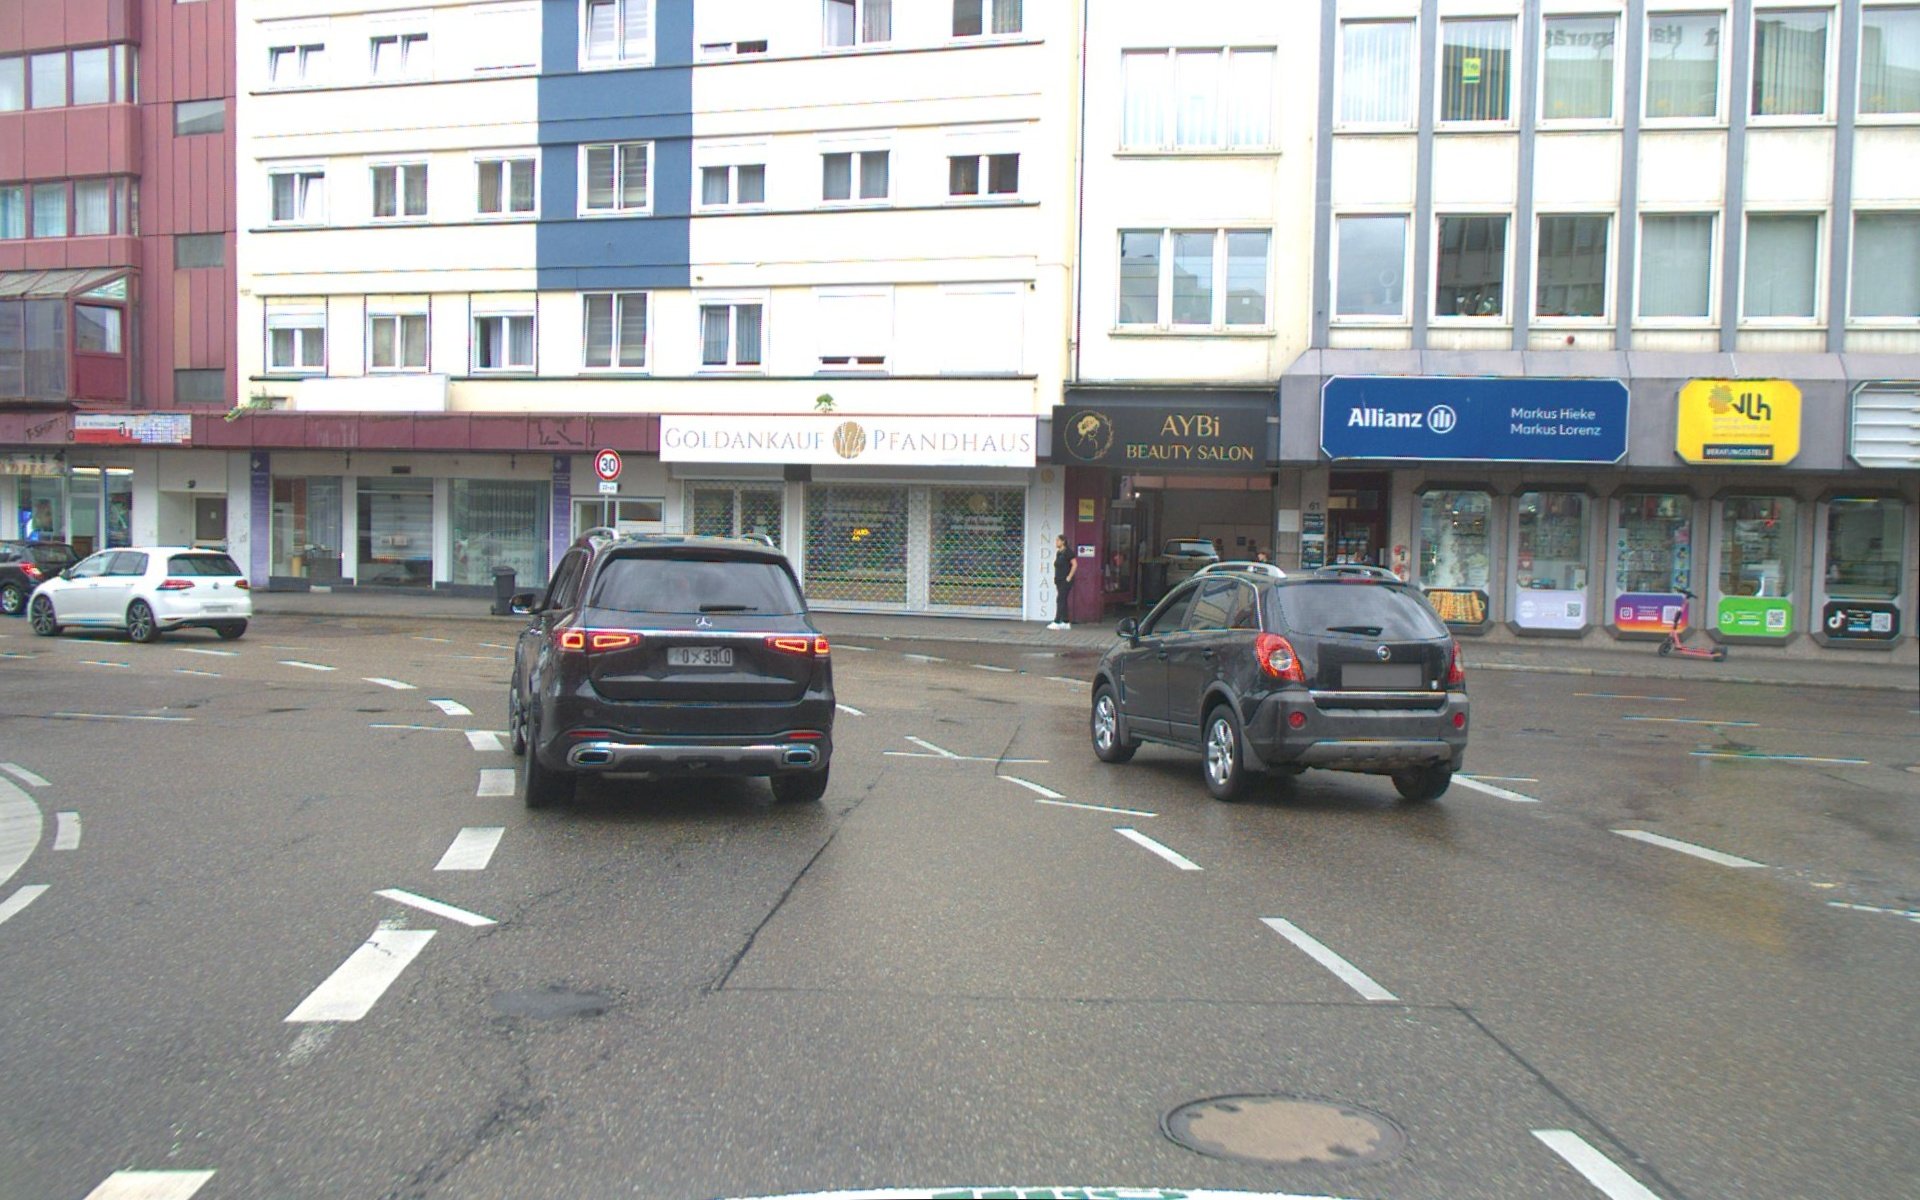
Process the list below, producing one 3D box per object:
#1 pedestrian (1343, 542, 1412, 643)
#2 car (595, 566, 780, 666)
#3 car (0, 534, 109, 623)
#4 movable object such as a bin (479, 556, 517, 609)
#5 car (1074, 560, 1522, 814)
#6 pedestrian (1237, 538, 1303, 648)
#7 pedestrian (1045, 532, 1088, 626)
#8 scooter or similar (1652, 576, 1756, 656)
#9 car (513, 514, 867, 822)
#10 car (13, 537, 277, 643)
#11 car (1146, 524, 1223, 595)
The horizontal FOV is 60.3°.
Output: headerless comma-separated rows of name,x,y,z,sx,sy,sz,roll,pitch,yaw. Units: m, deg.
pedestrian,7.457,-0.144,29.595,1.008,1.717,0.831,1,6,5
car,-4.334,0.234,25.877,1.746,1.422,3.965,1,0,-27
car,-20.116,-0.505,34.226,4.387,1.687,1.829,3,-1,18
movable object such as a bin,-9.220,-0.350,32.999,0.531,0.966,0.613,-6,8,-33
car,2.517,0.553,13.602,1.865,1.724,4.489,0,1,-14
pedestrian,5.420,-0.139,29.003,1.008,1.829,0.831,1,6,5
pedestrian,2.030,-0.405,31.397,0.737,1.717,0.566,2,6,8
scooter or similar,13.020,0.266,28.978,1.481,1.231,0.622,4,5,12
car,-2.220,0.371,12.353,2.006,1.830,4.641,1,1,-17
car,-13.352,-0.220,27.046,4.307,1.520,1.875,3,3,32
car,5.762,-1.009,42.720,1.759,1.699,4.002,1,0,5
